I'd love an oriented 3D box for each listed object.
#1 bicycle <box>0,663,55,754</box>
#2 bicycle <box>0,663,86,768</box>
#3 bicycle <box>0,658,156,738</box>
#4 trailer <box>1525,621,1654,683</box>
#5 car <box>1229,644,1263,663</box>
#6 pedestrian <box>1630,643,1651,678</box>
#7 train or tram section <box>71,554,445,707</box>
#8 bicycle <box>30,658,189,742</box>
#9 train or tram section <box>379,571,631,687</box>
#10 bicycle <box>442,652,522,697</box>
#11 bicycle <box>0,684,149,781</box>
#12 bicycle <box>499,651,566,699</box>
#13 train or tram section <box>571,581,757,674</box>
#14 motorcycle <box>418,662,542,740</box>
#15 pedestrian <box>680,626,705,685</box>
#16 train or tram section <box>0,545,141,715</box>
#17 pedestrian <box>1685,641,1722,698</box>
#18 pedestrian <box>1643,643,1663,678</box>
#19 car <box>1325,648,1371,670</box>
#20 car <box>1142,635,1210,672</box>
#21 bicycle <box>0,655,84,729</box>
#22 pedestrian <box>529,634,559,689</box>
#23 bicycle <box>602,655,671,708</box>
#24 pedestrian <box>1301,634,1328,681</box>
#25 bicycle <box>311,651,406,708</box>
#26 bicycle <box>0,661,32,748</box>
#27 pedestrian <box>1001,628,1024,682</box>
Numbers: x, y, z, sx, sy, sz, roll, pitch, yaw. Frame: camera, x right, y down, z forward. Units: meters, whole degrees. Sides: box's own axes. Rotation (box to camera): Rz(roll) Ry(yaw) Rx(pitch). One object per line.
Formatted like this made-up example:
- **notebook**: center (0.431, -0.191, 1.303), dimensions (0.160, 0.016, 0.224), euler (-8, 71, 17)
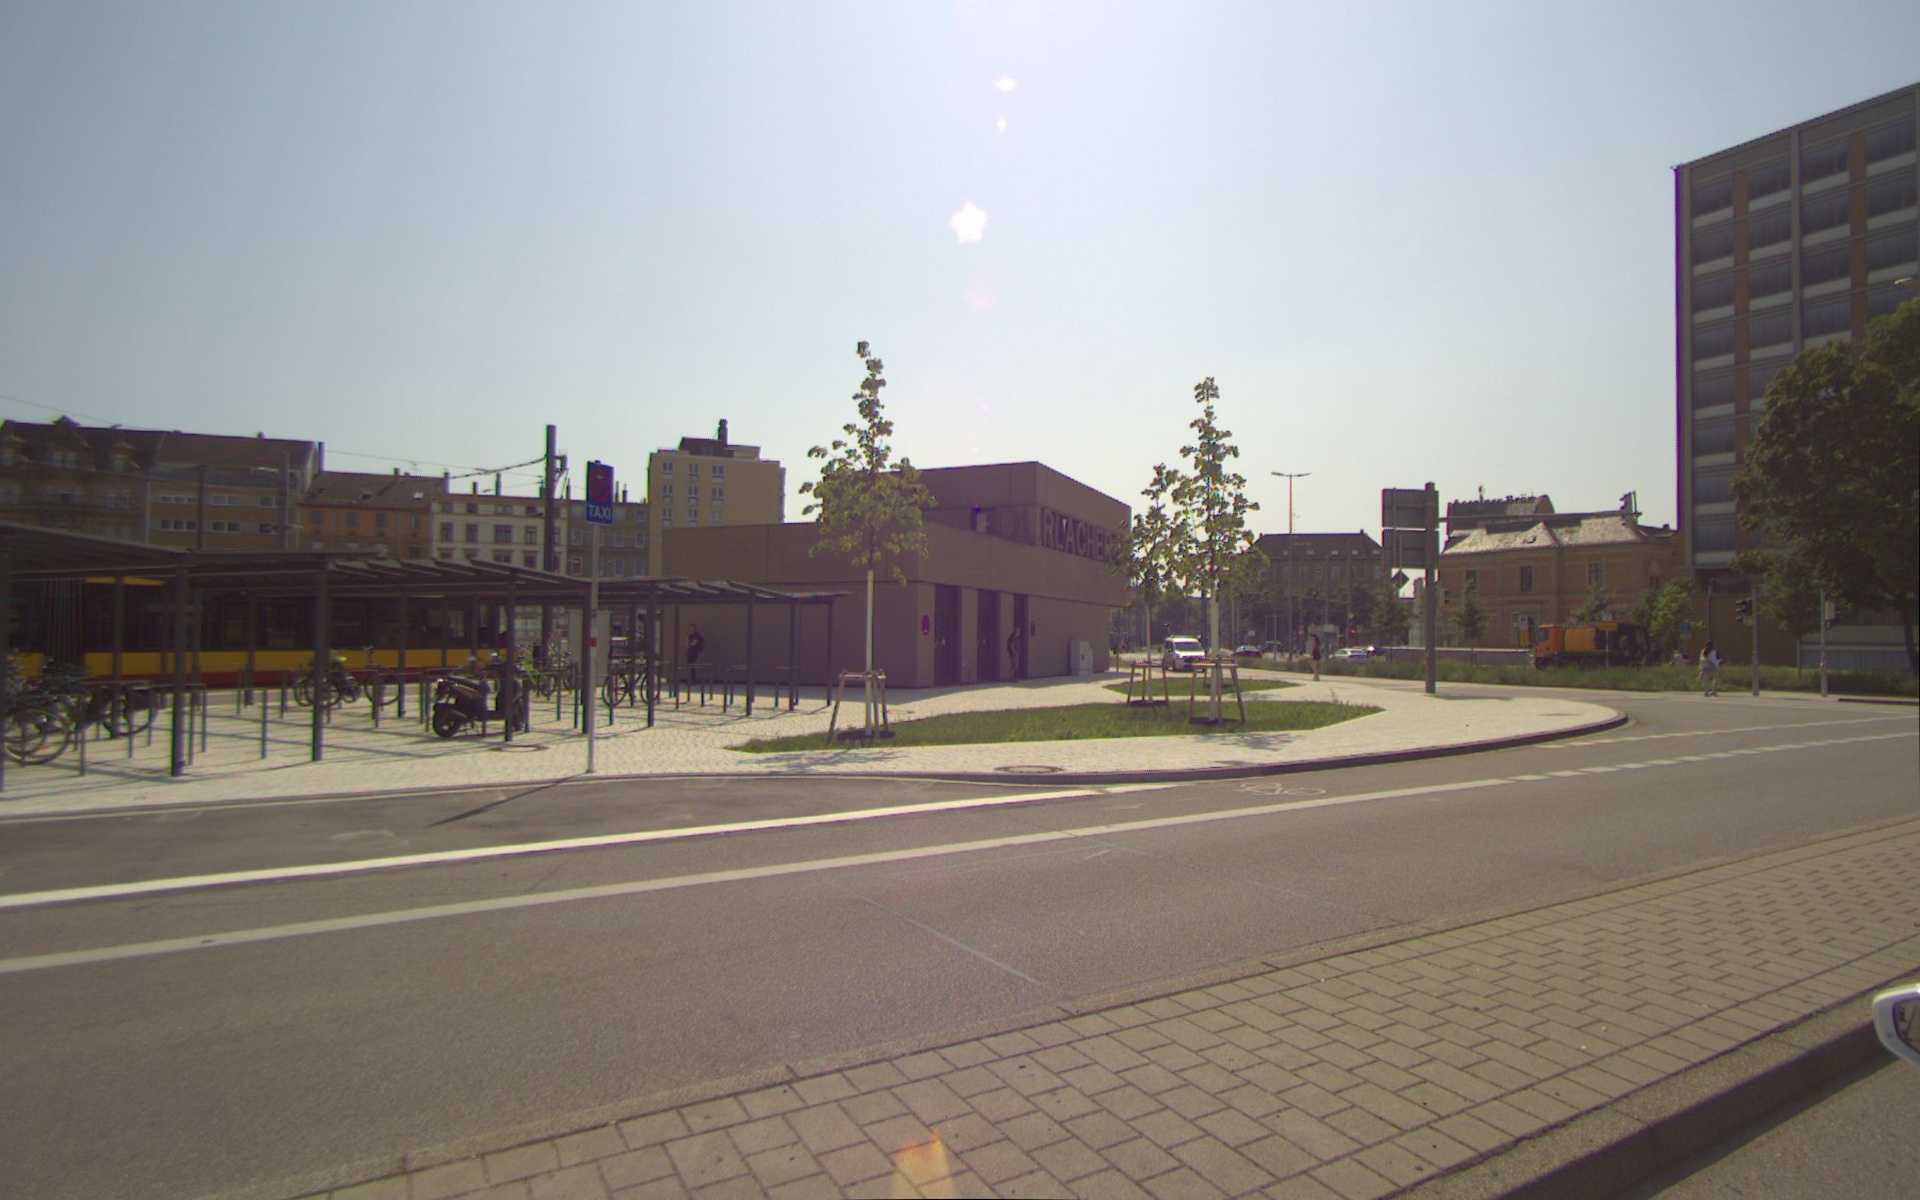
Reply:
- **bicycle**: center (-11.668, 1.275, 11.567), dimensions (0.517, 1.054, 1.768), euler (-1, -2, 27)
- **bicycle**: center (-10.573, 1.245, 10.680), dimensions (0.517, 1.096, 1.863), euler (-1, -2, 27)
- **bicycle**: center (-12.654, 1.377, 14.474), dimensions (0.405, 1.054, 1.639), euler (-1, -2, 27)
- **trailer**: center (33.573, 2.731, 53.896), dimensions (2.425, 3.047, 6.320), euler (3, -2, -6)
- **car**: center (22.844, 4.251, 80.284), dimensions (1.728, 1.422, 3.983), euler (2, -2, 2)
- **pedestrian**: center (39.466, 3.501, 58.274), dimensions (0.764, 1.999, 0.754), euler (0, -2, 13)
- **train or tram section**: center (-19.245, 0.850, 28.363), dimensions (3.102, 3.645, 8.240), euler (-1, -2, 25)
- **bicycle**: center (-11.774, 1.355, 13.969), dimensions (0.405, 1.054, 1.639), euler (-1, -2, 27)
- **train or tram section**: center (-15.850, 1.032, 35.848), dimensions (3.085, 3.617, 8.239), euler (-2, -2, 24)
- **bicycle**: center (-11.383, 1.768, 24.000), dimensions (0.503, 0.998, 1.856), euler (-1, -2, 23)
- **bicycle**: center (-9.413, 1.329, 10.100), dimensions (0.482, 0.895, 1.896), euler (-1, -3, 27)
- **bicycle**: center (-9.907, 1.728, 23.349), dimensions (0.503, 1.054, 1.736), euler (0, -2, 12)
- **train or tram section**: center (-12.479, 1.189, 43.316), dimensions (3.085, 3.617, 8.239), euler (-2, -2, 24)
- **motorcycle**: center (-7.287, 1.507, 15.337), dimensions (0.482, 1.083, 1.777), euler (-1, -2, 27)
- **pedestrian**: center (-7.817, 1.625, 29.374), dimensions (0.435, 1.700, 0.568), euler (0, -2, 25)
- **train or tram section**: center (-22.722, 0.649, 20.744), dimensions (3.102, 3.645, 8.520), euler (-1, -2, 25)
- **pedestrian**: center (23.080, 2.148, 31.186), dimensions (0.688, 1.717, 0.606), euler (1, -2, -13)
- **pedestrian**: center (40.406, 3.528, 58.567), dimensions (0.764, 1.999, 0.754), euler (0, -2, 13)
- **car**: center (29.101, 4.423, 75.466), dimensions (1.729, 1.474, 4.426), euler (2, -2, -1)
- **car**: center (11.736, 2.903, 54.854), dimensions (1.965, 1.884, 4.324), euler (-1, -2, -13)
- **bicycle**: center (-14.060, 1.356, 14.842), dimensions (0.405, 1.054, 1.639), euler (-1, -2, 27)
- **pedestrian**: center (-10.996, 1.615, 26.543), dimensions (0.660, 1.429, 0.440), euler (2, -2, -31)
- **bicycle**: center (-6.960, 1.734, 21.696), dimensions (0.503, 1.054, 1.735), euler (-1, -2, 18)
- **pedestrian**: center (13.171, 2.111, 37.319), dimensions (0.617, 1.725, 0.786), euler (1, -2, -11)
- **bicycle**: center (-11.838, 1.547, 19.813), dimensions (0.405, 1.054, 1.639), euler (-1, -2, 27)
- **bicycle**: center (-12.267, 1.273, 11.915), dimensions (0.517, 1.054, 1.768), euler (-1, -2, 27)
- **pedestrian**: center (1.673, 1.730, 31.763), dimensions (0.558, 1.700, 0.536), euler (0, -2, 24)
